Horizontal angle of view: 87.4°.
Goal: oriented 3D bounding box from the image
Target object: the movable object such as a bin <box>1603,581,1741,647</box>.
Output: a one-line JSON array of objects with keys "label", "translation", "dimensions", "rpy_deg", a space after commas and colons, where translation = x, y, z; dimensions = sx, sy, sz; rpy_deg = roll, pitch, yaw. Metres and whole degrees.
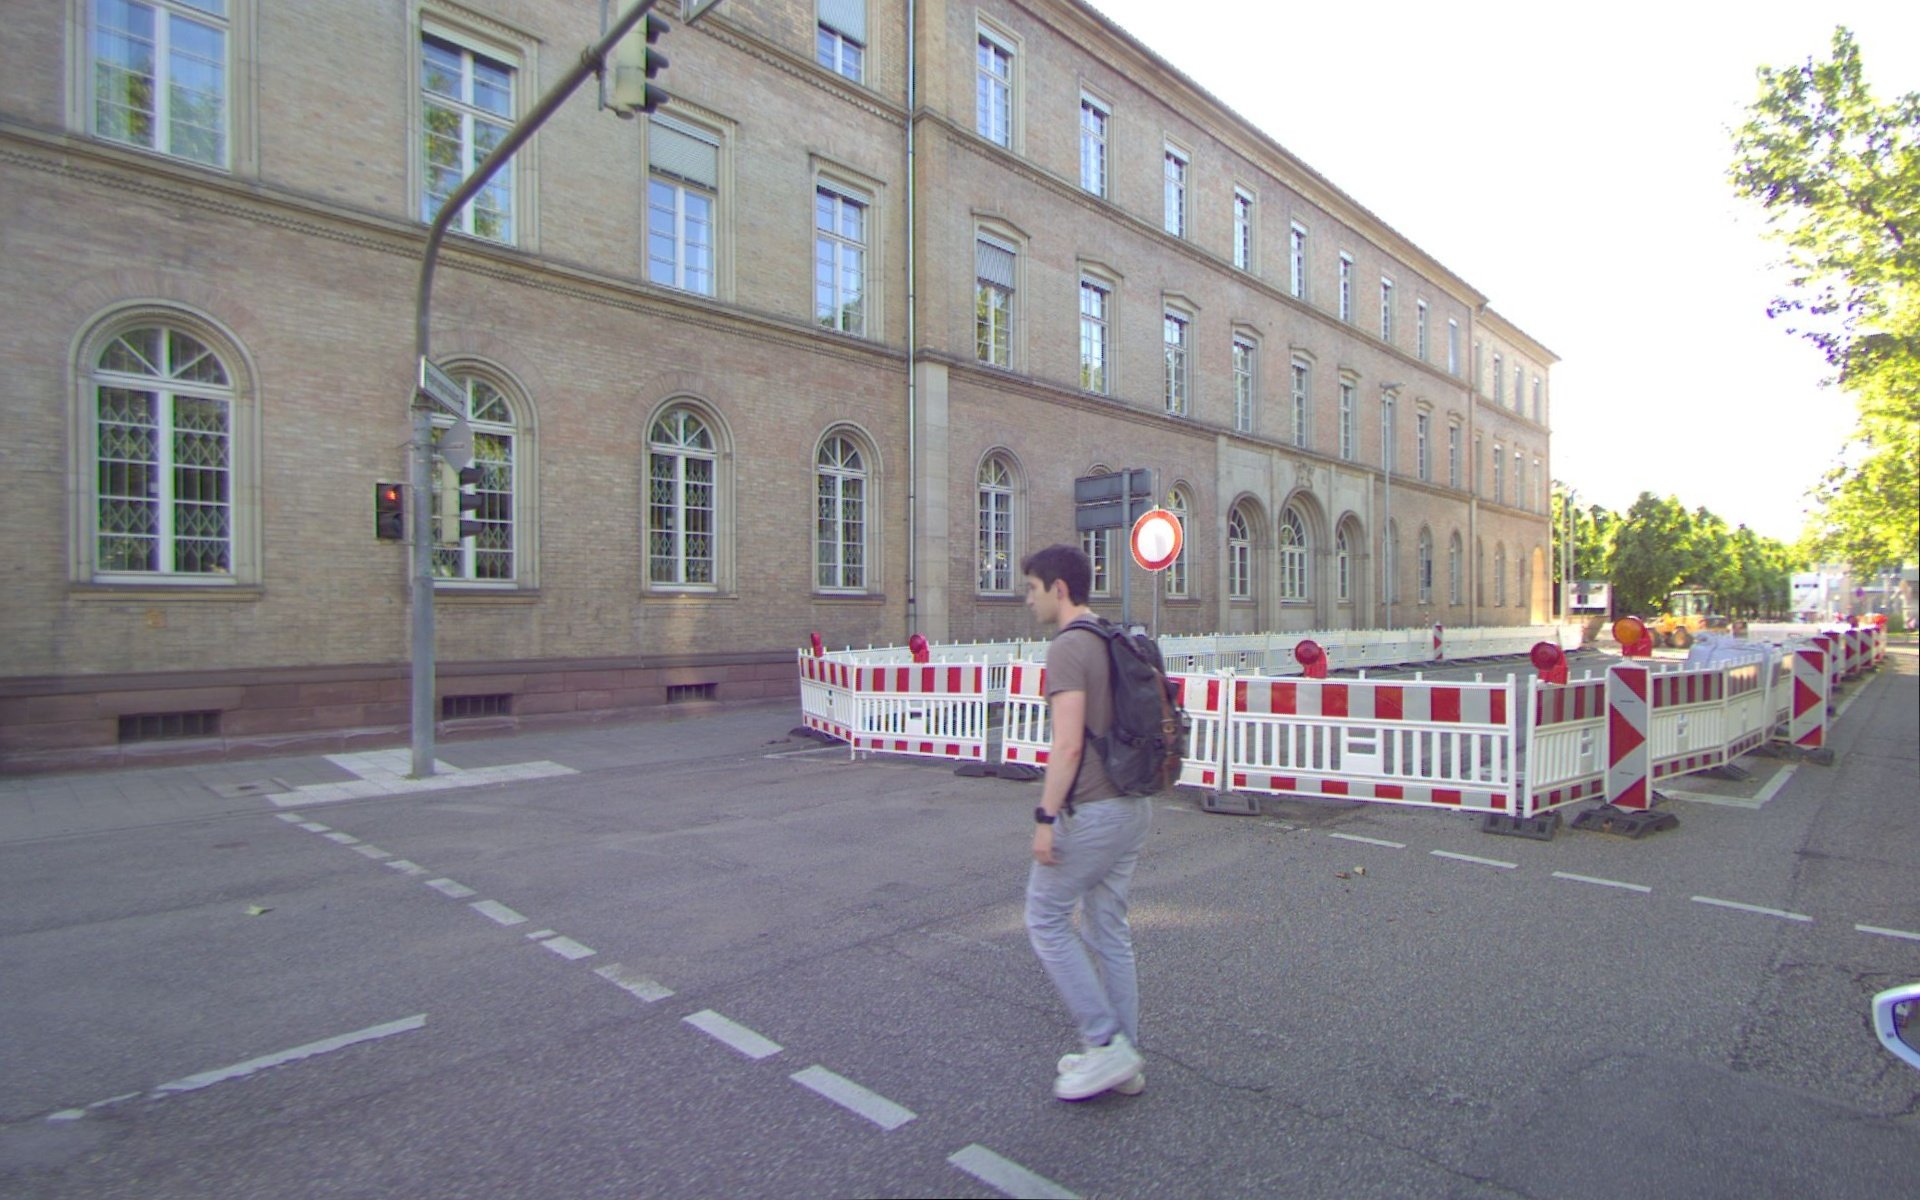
[{"label": "movable object such as a bin", "translation": [35.445, 0.728, 50.297], "dimensions": [2.517, 3.071, 5.931], "rpy_deg": [-1, -1, -2]}]

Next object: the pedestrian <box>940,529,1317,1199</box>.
[{"label": "pedestrian", "translation": [0.494, 0.727, 3.104], "dimensions": [0.740, 1.795, 0.875], "rpy_deg": [0, -1, -35]}]
